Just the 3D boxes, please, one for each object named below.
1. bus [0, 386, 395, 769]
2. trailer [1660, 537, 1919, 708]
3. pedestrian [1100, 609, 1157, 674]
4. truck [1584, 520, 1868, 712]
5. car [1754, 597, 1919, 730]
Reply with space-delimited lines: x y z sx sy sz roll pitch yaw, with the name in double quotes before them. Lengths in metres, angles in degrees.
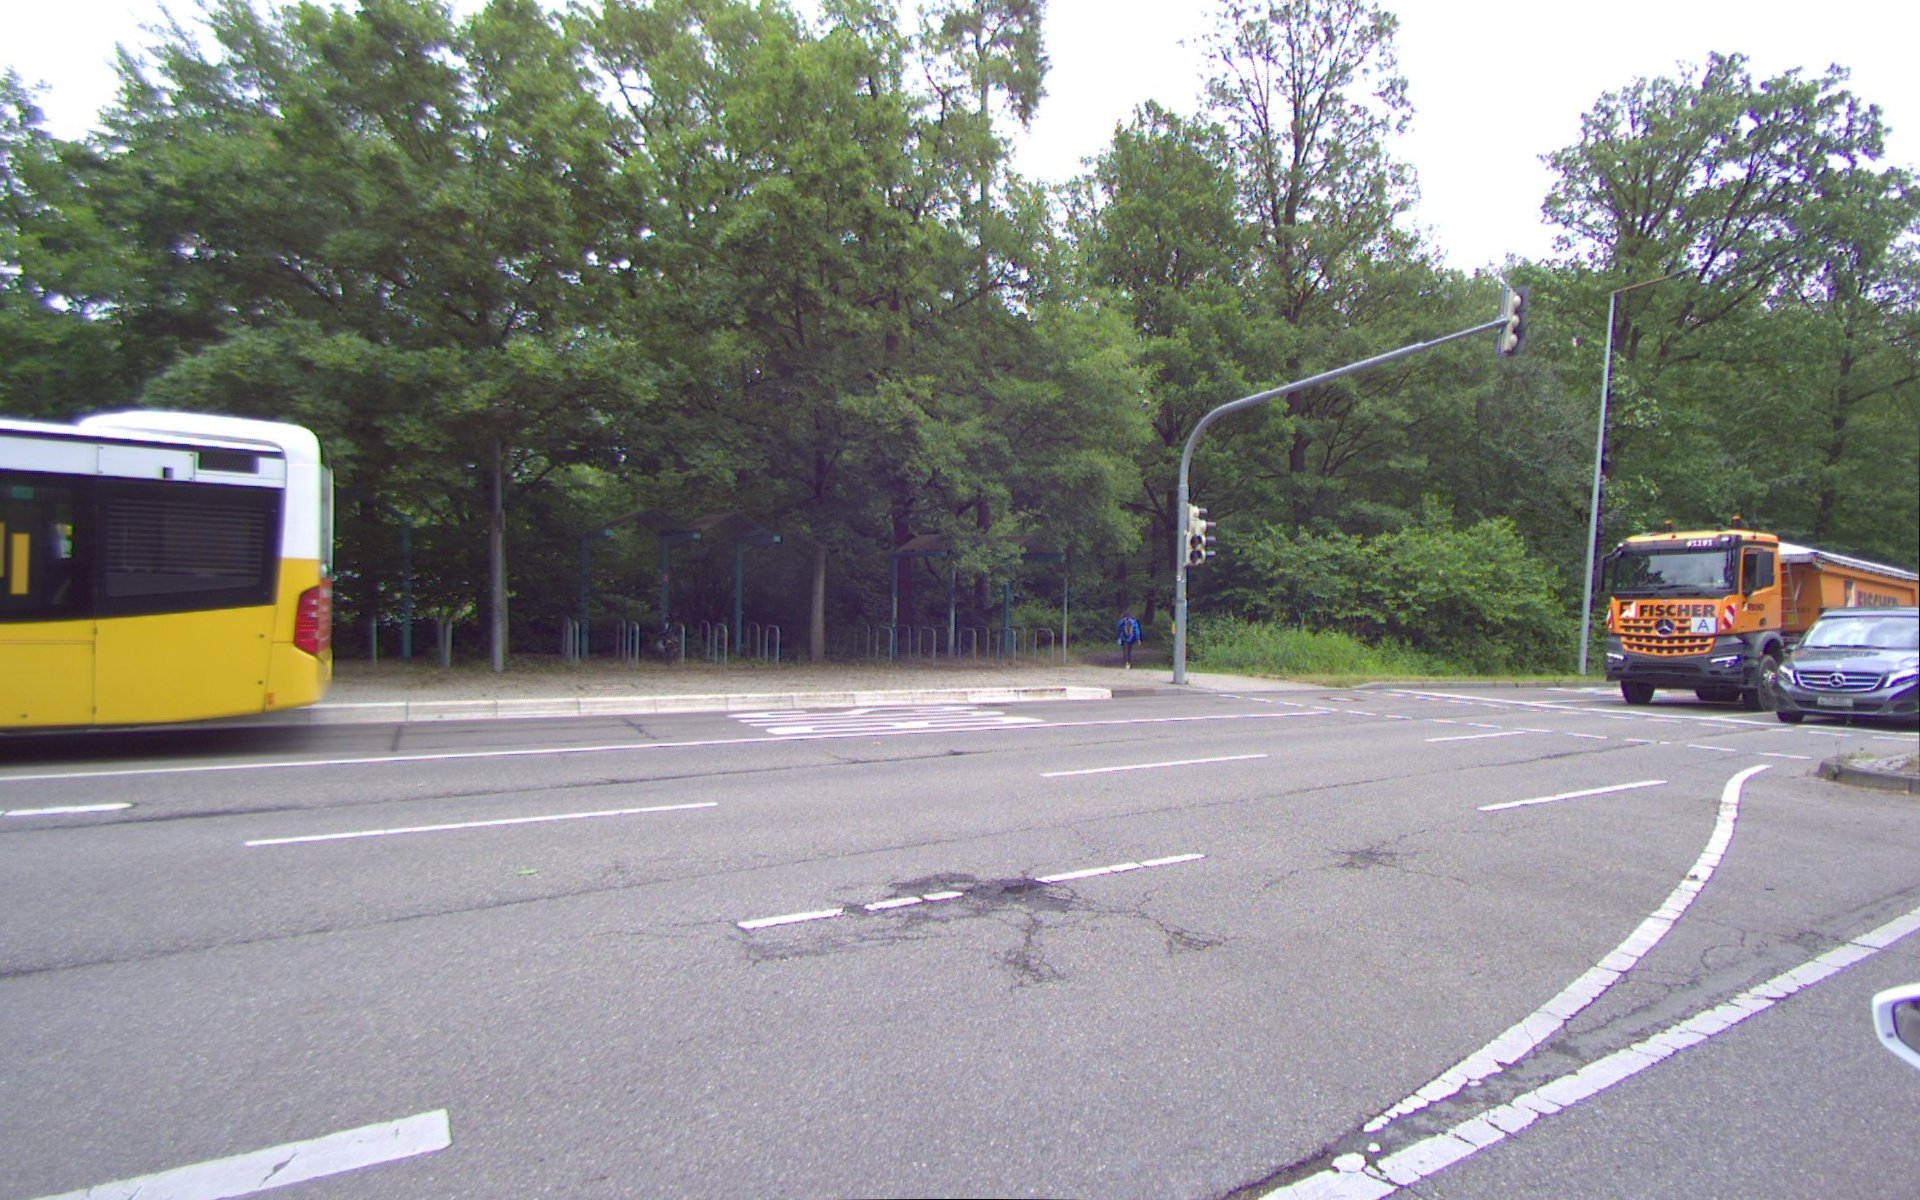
"bus" -9.935 -0.230 8.828 8.592 3.168 2.885 1 0 -30
"trailer" 19.541 0.613 23.325 8.486 3.362 2.720 3 -2 -36
"pedestrian" 4.653 1.128 27.752 1.056 1.671 1.042 0 4 -29
"truck" 15.979 0.438 20.769 7.090 3.362 2.721 3 -2 -35
"car" 15.298 1.019 16.677 4.789 1.918 1.981 2 -2 -34
